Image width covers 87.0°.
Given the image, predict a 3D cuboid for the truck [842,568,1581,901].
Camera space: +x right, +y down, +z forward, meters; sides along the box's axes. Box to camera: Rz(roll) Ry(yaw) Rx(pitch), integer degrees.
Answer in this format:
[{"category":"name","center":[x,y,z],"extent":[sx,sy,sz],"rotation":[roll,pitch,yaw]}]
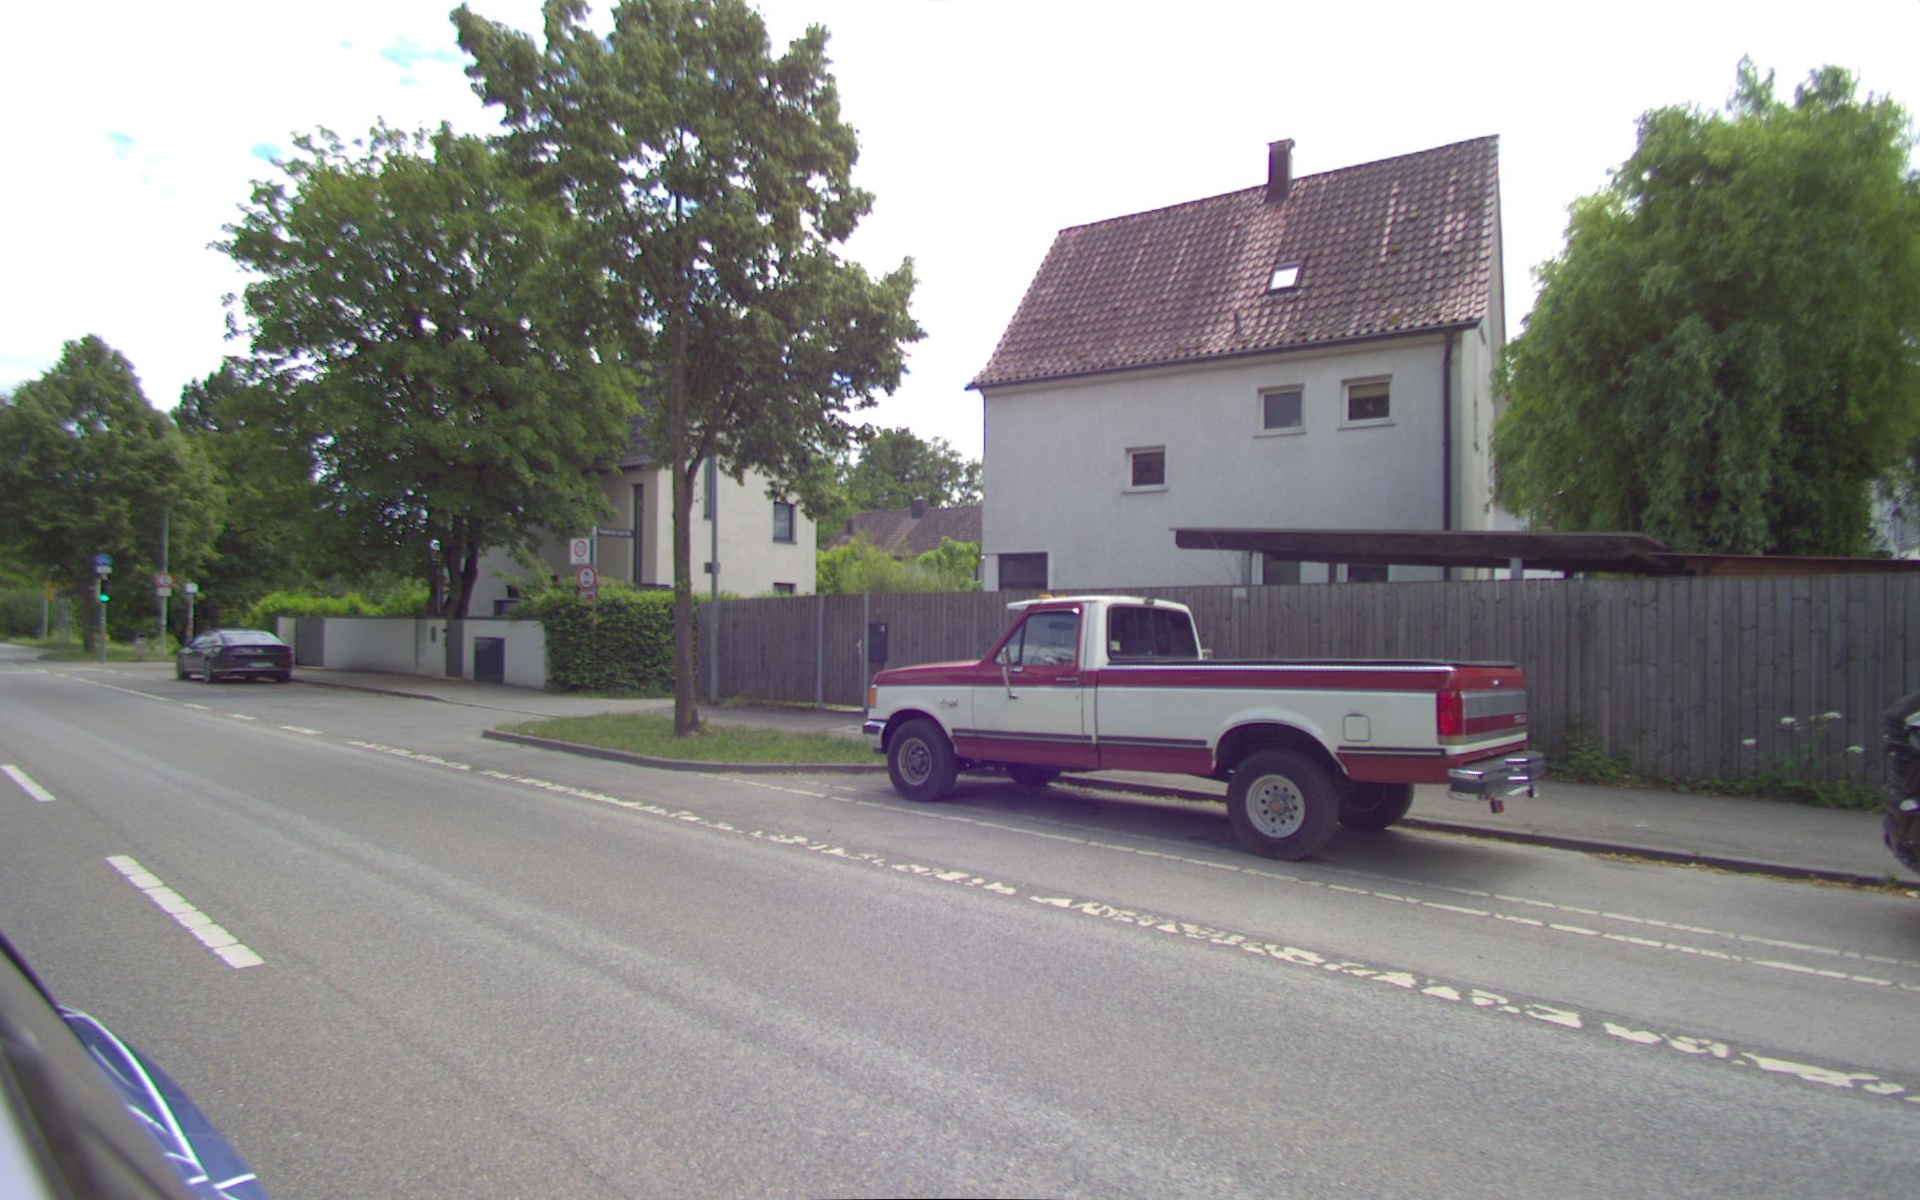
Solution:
[{"category":"truck","center":[1.669,0.852,8.362],"extent":[5.662,1.882,1.946],"rotation":[-1,-4,42]}]

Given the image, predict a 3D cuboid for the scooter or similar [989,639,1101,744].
[{"category":"scooter or similar","center":[1.091,1.144,13.040],"extent":[1.303,1.221,0.629],"rotation":[0,1,38]}]

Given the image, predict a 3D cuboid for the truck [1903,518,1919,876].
[{"category":"truck","center":[7.515,0.532,3.546],"extent":[5.991,2.059,2.398],"rotation":[-1,-2,41]}]

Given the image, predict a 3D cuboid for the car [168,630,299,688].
[{"category":"car","center":[-19.719,1.551,27.385],"extent":[4.924,1.419,1.728],"rotation":[-1,-4,41]}]
